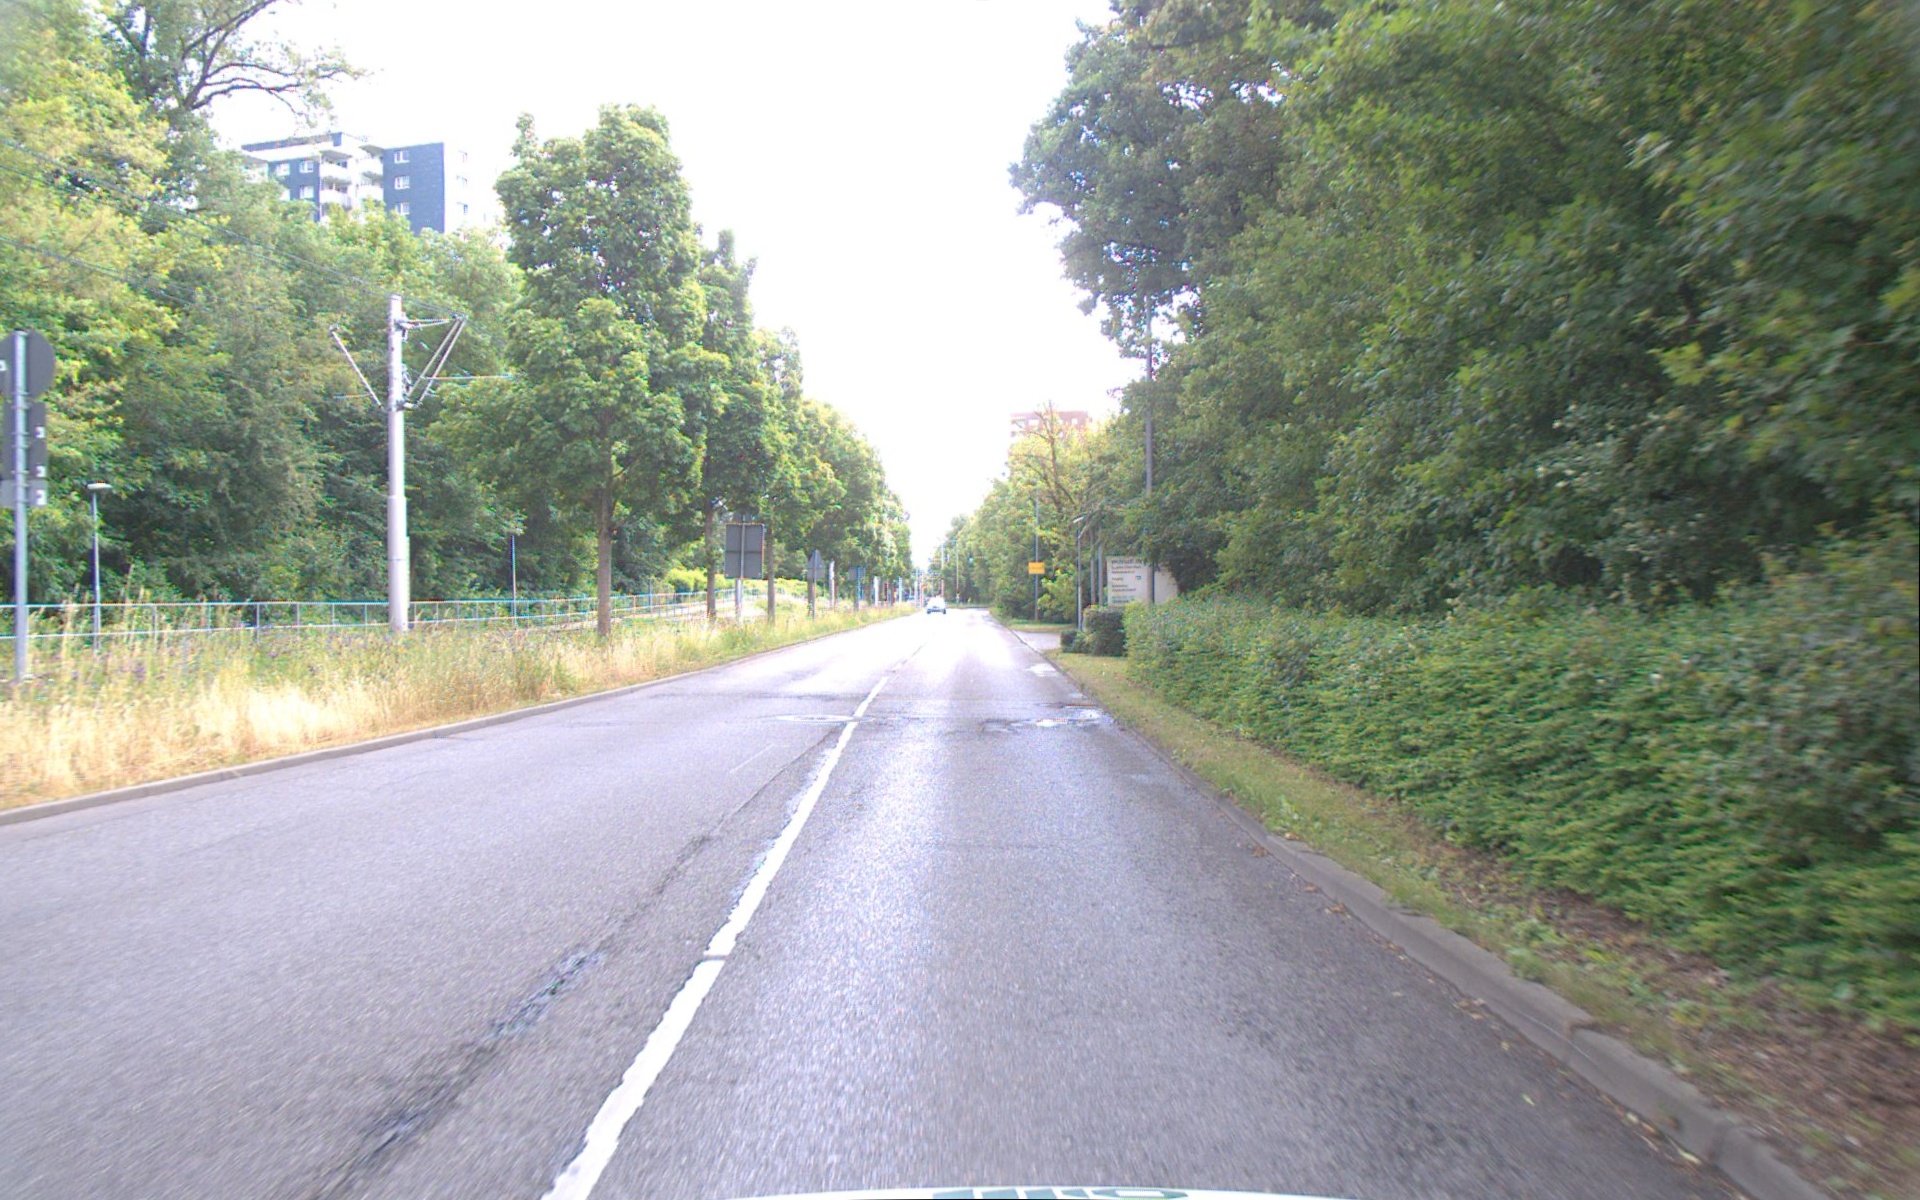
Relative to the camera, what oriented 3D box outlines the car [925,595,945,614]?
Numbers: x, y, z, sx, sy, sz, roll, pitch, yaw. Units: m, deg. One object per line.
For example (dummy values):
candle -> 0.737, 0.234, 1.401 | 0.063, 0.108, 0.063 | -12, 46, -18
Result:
car -> -2.377, 0.384, 156.763 | 1.681, 1.658, 4.000 | 3, 0, 1
